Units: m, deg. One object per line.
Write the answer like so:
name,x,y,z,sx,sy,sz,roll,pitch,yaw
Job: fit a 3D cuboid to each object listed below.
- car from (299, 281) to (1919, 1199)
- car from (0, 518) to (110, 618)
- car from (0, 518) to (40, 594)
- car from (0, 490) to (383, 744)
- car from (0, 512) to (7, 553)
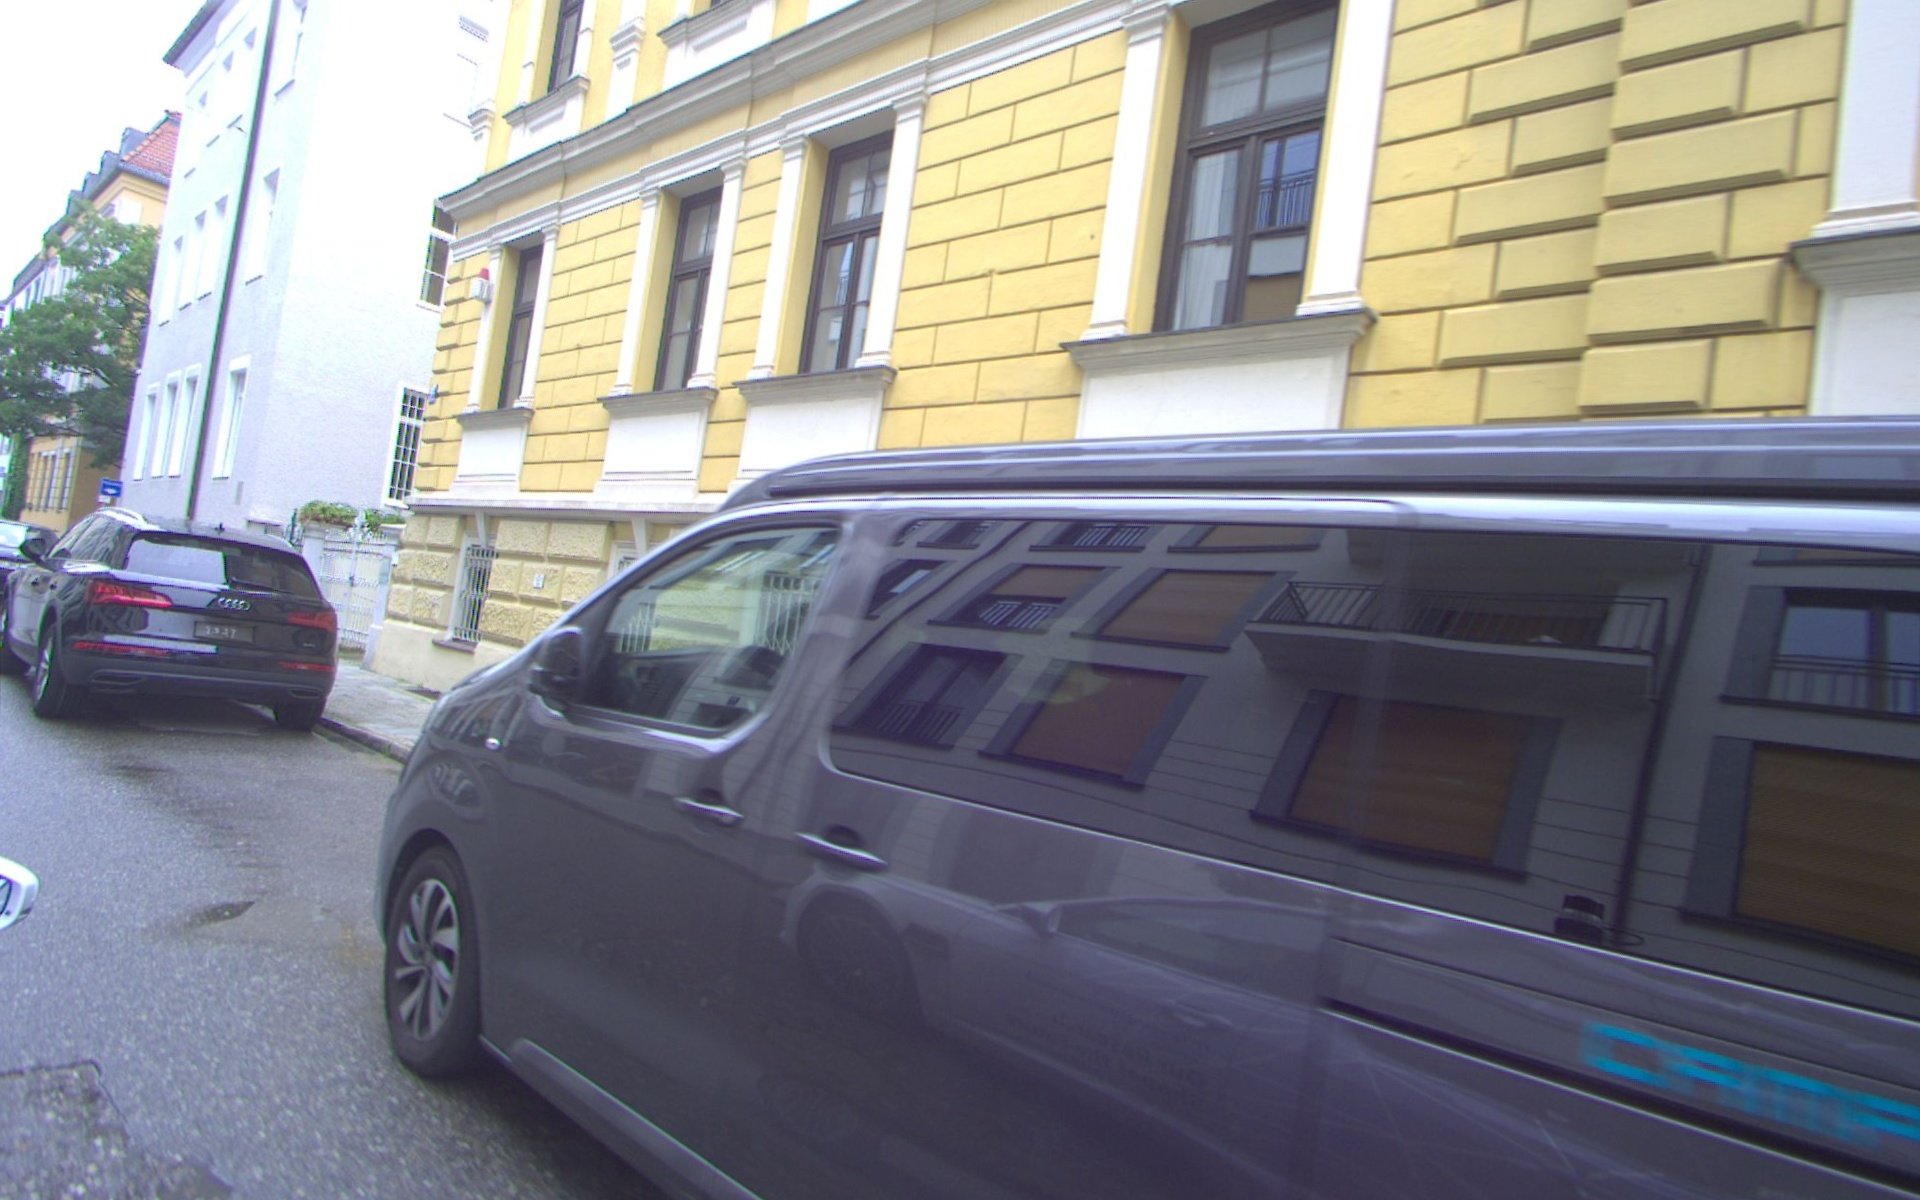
car,0.262,0.678,2.767,4.593,1.951,1.996,6,-5,40
car,-16.371,-0.679,17.337,3.741,1.391,1.895,6,-4,40
car,-20.478,-1.088,20.517,3.883,1.391,1.895,6,-4,40
car,-7.136,0.064,9.008,4.260,1.659,1.895,6,-4,40
car,-24.364,-1.528,24.069,3.720,1.562,1.702,6,-4,40
